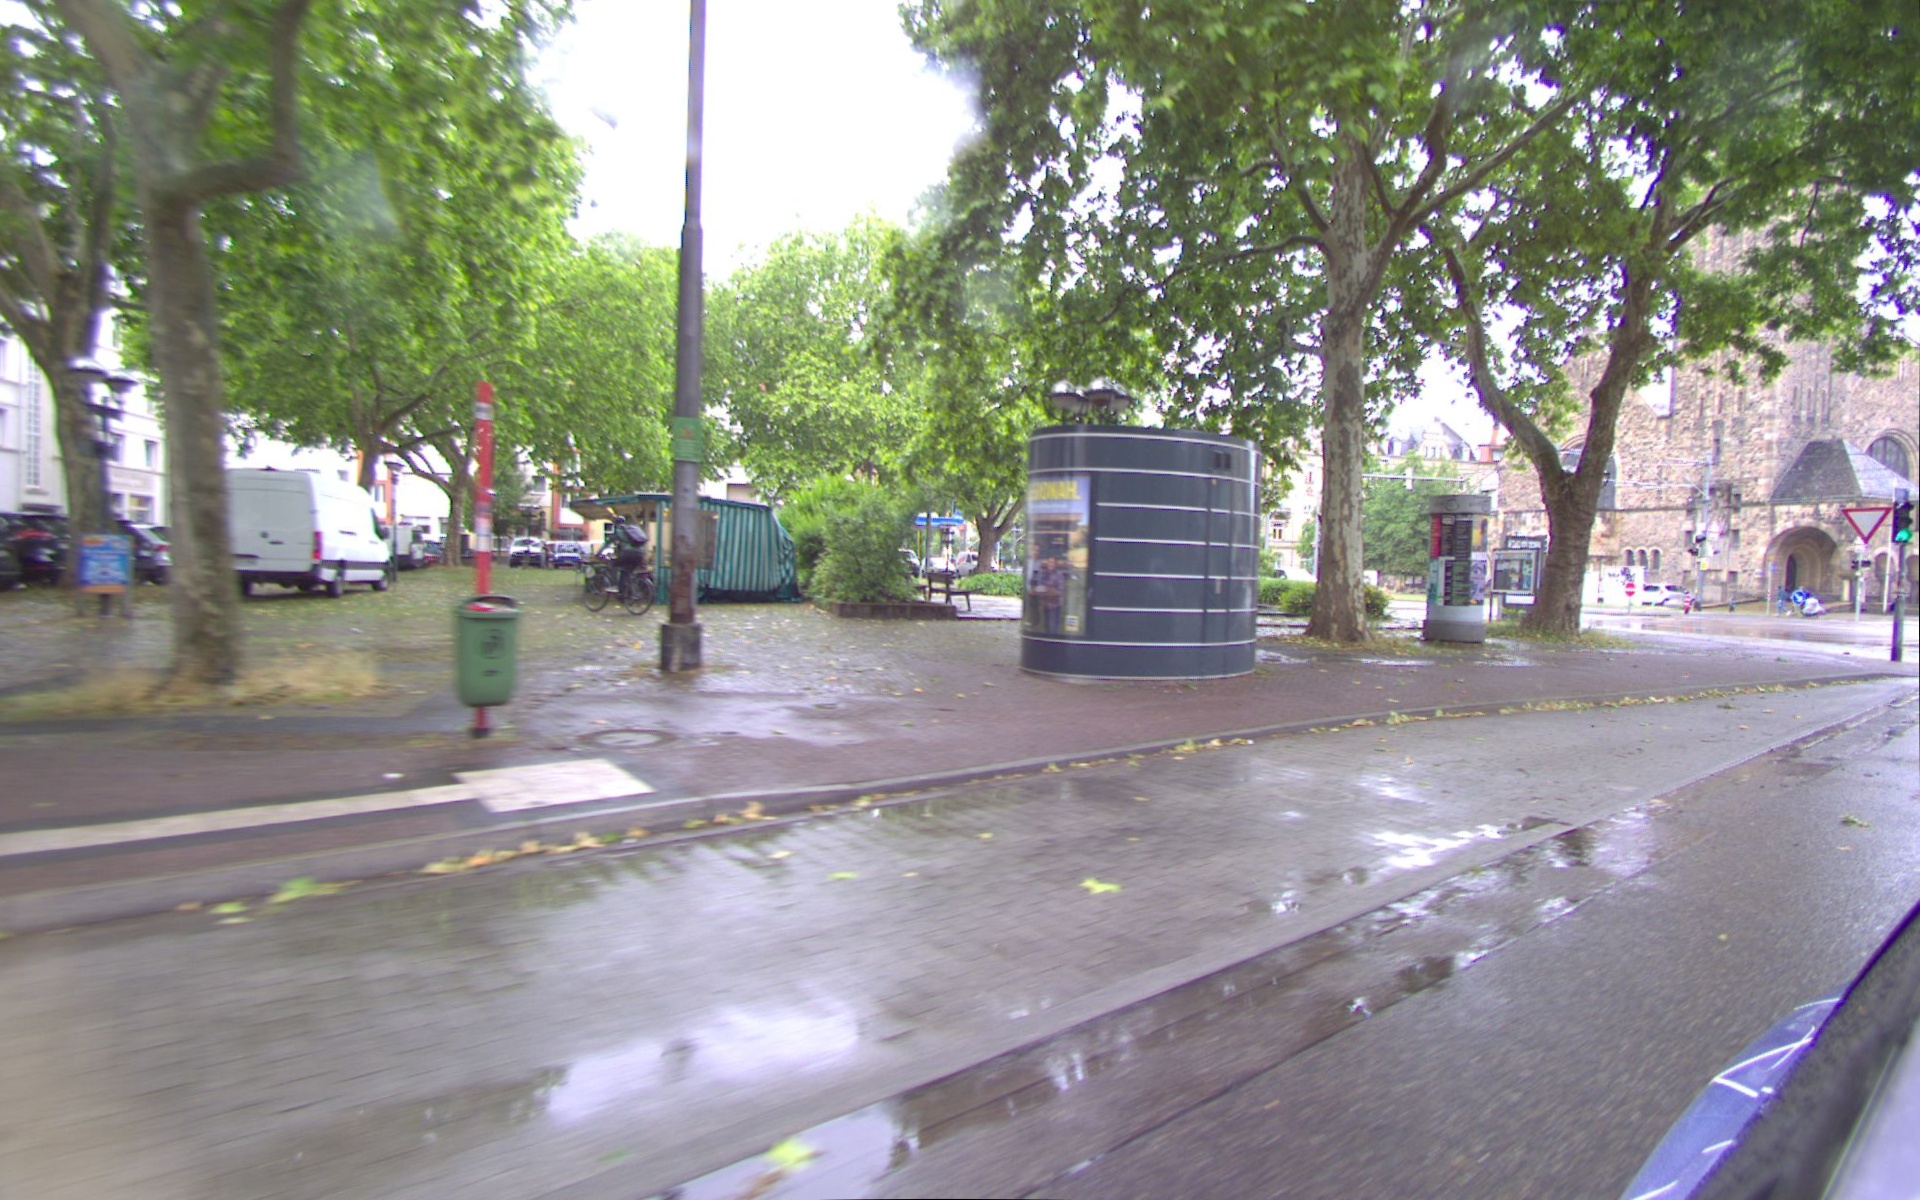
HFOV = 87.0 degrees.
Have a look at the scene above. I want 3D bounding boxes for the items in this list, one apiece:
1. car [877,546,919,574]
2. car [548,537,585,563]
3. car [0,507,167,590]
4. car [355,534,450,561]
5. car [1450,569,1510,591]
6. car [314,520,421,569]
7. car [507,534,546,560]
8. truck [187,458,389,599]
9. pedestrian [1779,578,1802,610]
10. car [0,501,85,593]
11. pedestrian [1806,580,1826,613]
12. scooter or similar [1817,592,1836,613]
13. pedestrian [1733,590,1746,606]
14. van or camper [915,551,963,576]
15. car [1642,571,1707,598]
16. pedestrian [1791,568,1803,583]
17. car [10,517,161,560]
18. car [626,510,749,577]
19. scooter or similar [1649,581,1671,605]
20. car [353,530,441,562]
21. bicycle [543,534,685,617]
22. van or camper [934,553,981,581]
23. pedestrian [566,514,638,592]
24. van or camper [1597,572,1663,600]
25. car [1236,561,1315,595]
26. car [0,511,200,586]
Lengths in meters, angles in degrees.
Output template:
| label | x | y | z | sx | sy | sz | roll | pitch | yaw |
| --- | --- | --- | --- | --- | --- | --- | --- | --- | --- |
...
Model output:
| label | x | y | z | sx | sy | sz | roll | pitch | yaw |
| --- | --- | --- | --- | --- | --- | --- | --- | --- | --- |
| car | -4.262 | -2.759 | 69.381 | 1.702 | 1.800 | 4.272 | 1 | 3 | -19 |
| car | -24.613 | -3.141 | 63.365 | 1.642 | 1.470 | 4.010 | 1 | 3 | -14 |
| car | -21.383 | -1.218 | 23.757 | 3.916 | 1.860 | 1.844 | -1 | 3 | -15 |
| car | -28.568 | -2.676 | 52.006 | 3.915 | 1.222 | 2.005 | 1 | 2 | -18 |
| car | 42.206 | -1.651 | 82.149 | 3.916 | 1.637 | 2.005 | 1 | 2 | -16 |
| car | -27.711 | -2.592 | 47.447 | 4.012 | 2.230 | 1.558 | -1 | 3 | -15 |
| car | -27.062 | -3.320 | 63.264 | 1.642 | 1.470 | 4.010 | 1 | 3 | -14 |
| truck | -14.986 | -1.551 | 23.083 | 2.220 | 2.732 | 6.417 | 1 | 3 | -18 |
| pedestrian | 46.145 | -0.324 | 56.253 | 0.622 | 1.724 | 0.678 | 2 | 2 | -2 |
| car | -21.179 | -1.098 | 21.144 | 3.916 | 1.860 | 1.844 | -1 | 3 | -15 |
| pedestrian | 44.921 | -0.205 | 53.111 | 0.676 | 1.684 | 0.605 | 1 | 2 | -37 |
| scooter or similar | 44.833 | 0.122 | 52.341 | 0.907 | 1.061 | 0.515 | 1 | 2 | -37 |
| pedestrian | 45.925 | -0.132 | 59.615 | 0.388 | 0.895 | 0.457 | 1 | 2 | -19 |
| van or camper | -1.491 | -2.546 | 70.358 | 1.958 | 1.618 | 4.683 | 1 | 2 | -19 |
| car | 46.762 | -1.030 | 66.228 | 3.288 | 1.593 | 1.741 | -2 | 3 | -13 |
| pedestrian | 54.110 | -1.579 | 65.444 | 0.447 | 0.895 | 0.397 | 1 | 2 | -17 |
| car | -38.233 | -2.647 | 44.382 | 4.532 | 1.649 | 2.004 | 1 | 0 | -17 |
| car | -9.083 | -1.843 | 33.616 | 3.787 | 2.038 | 1.960 | 1 | 2 | -19 |
| scooter or similar | 42.605 | -0.444 | 61.567 | 0.280 | 1.404 | 1.106 | 2 | 2 | -17 |
| car | -30.672 | -2.922 | 55.250 | 3.916 | 1.638 | 1.720 | 0 | 1 | -14 |
| bicycle | -6.514 | -0.484 | 19.019 | 2.675 | 1.394 | 0.746 | 4 | 3 | 22 |
| van or camper | -0.201 | -2.452 | 74.399 | 1.958 | 1.938 | 4.683 | 1 | 2 | -19 |
| pedestrian | -6.749 | -0.890 | 19.109 | 1.035 | 1.415 | 0.741 | 3 | 3 | 22 |
| van or camper | 45.993 | -0.975 | 69.450 | 3.848 | 1.748 | 1.653 | -2 | 3 | -16 |
| car | 16.886 | -1.203 | 54.425 | 1.754 | 1.619 | 4.567 | 2 | 2 | -17 |
| car | -22.445 | -1.349 | 26.247 | 3.916 | 1.860 | 1.844 | -1 | 3 | -15 |
